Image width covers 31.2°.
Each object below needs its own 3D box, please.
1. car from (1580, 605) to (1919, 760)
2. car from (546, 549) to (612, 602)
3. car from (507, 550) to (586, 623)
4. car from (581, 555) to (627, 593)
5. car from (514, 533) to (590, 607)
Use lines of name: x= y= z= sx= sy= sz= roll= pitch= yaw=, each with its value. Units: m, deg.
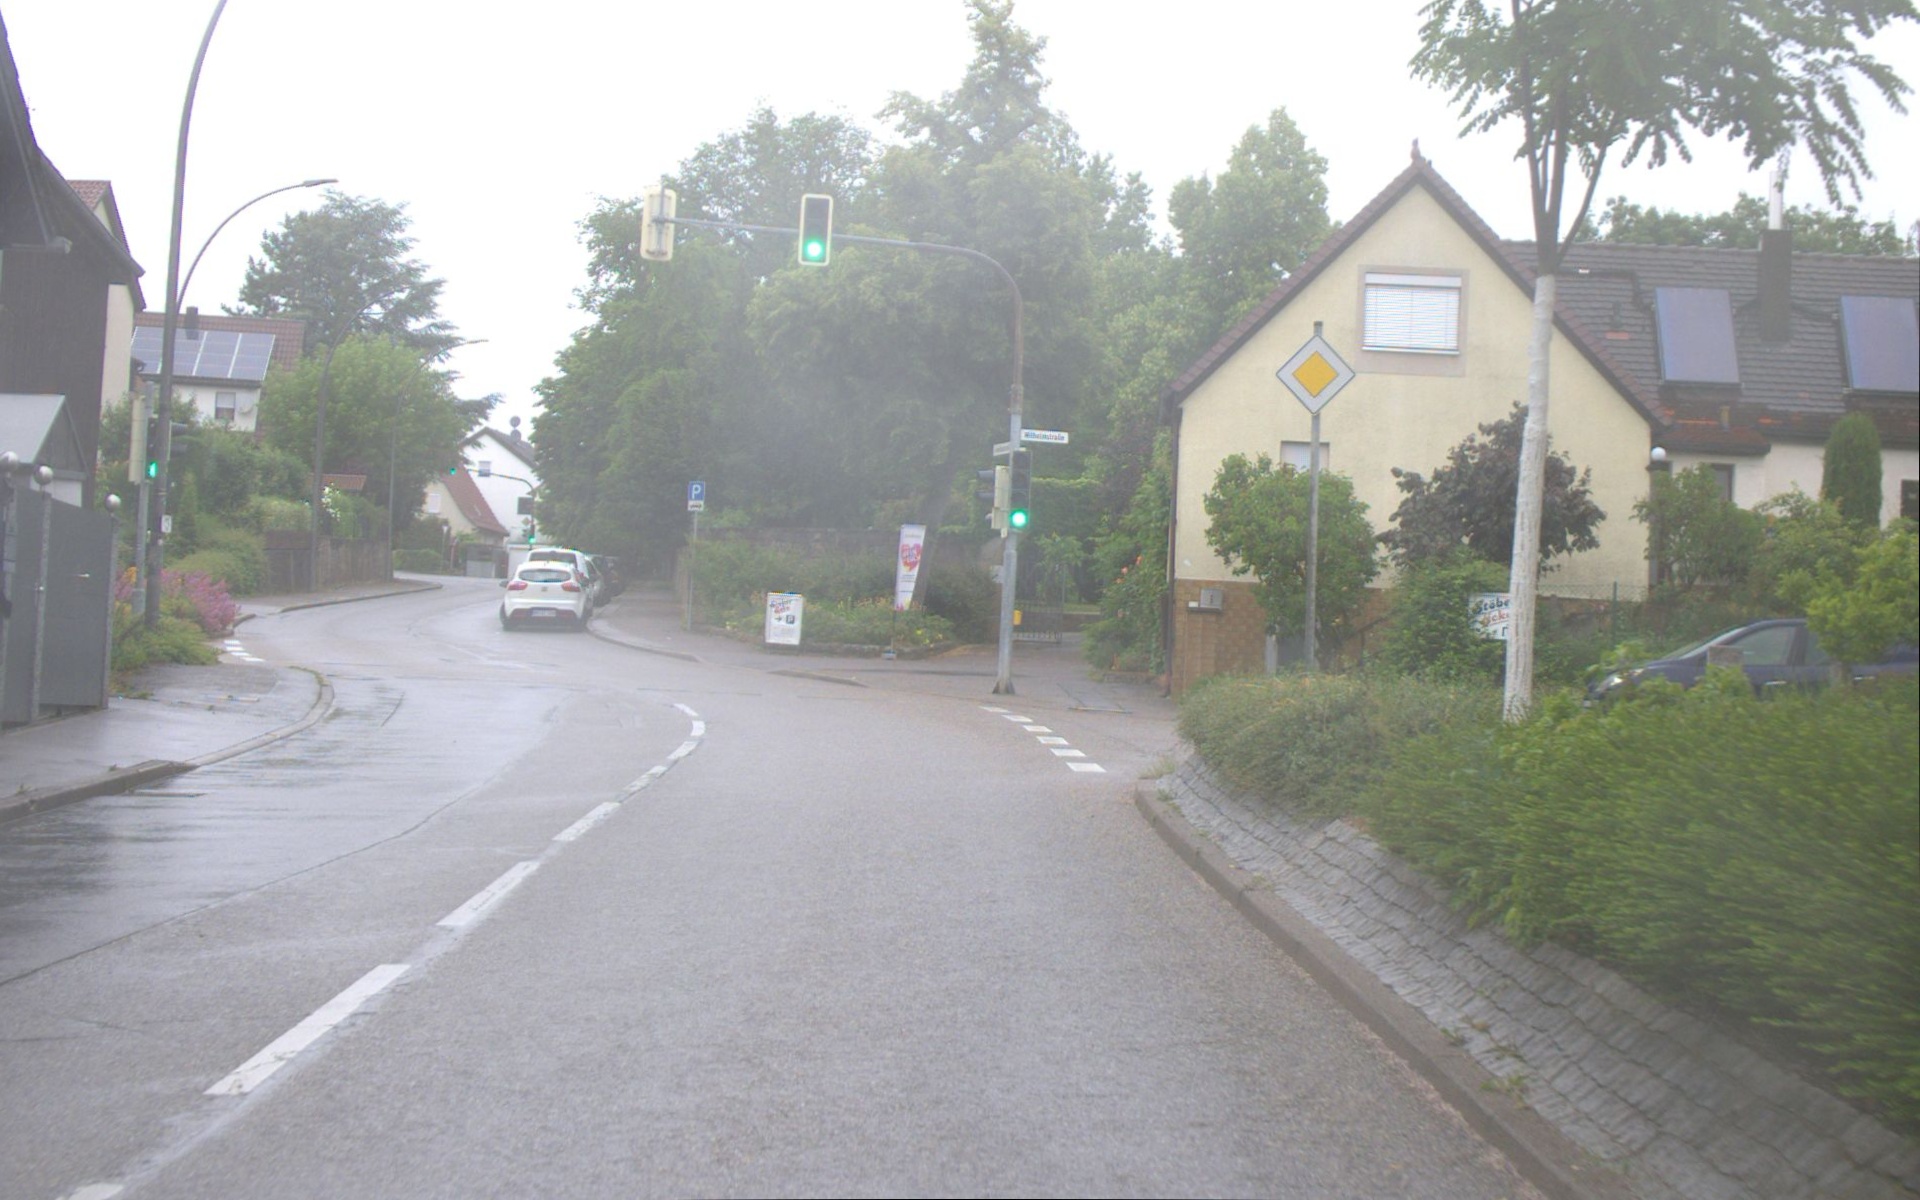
car: x=9.492 y=0.979 z=40.710 sx=4.134 sy=1.580 sz=1.863 roll=3 pitch=-1 yaw=11
car: x=-12.010 y=-0.757 z=108.551 sx=1.814 sy=1.568 sz=3.880 roll=2 pitch=0 yaw=-3
car: x=-9.098 y=-0.306 z=75.725 sx=1.611 sy=1.475 sz=4.039 roll=3 pitch=0 yaw=-7
car: x=-13.949 y=-1.033 z=134.573 sx=1.651 sy=1.367 sz=4.182 roll=2 pitch=0 yaw=-7
car: x=-10.274 y=-0.755 z=86.751 sx=1.637 sy=1.735 sz=4.136 roll=3 pitch=0 yaw=-4
